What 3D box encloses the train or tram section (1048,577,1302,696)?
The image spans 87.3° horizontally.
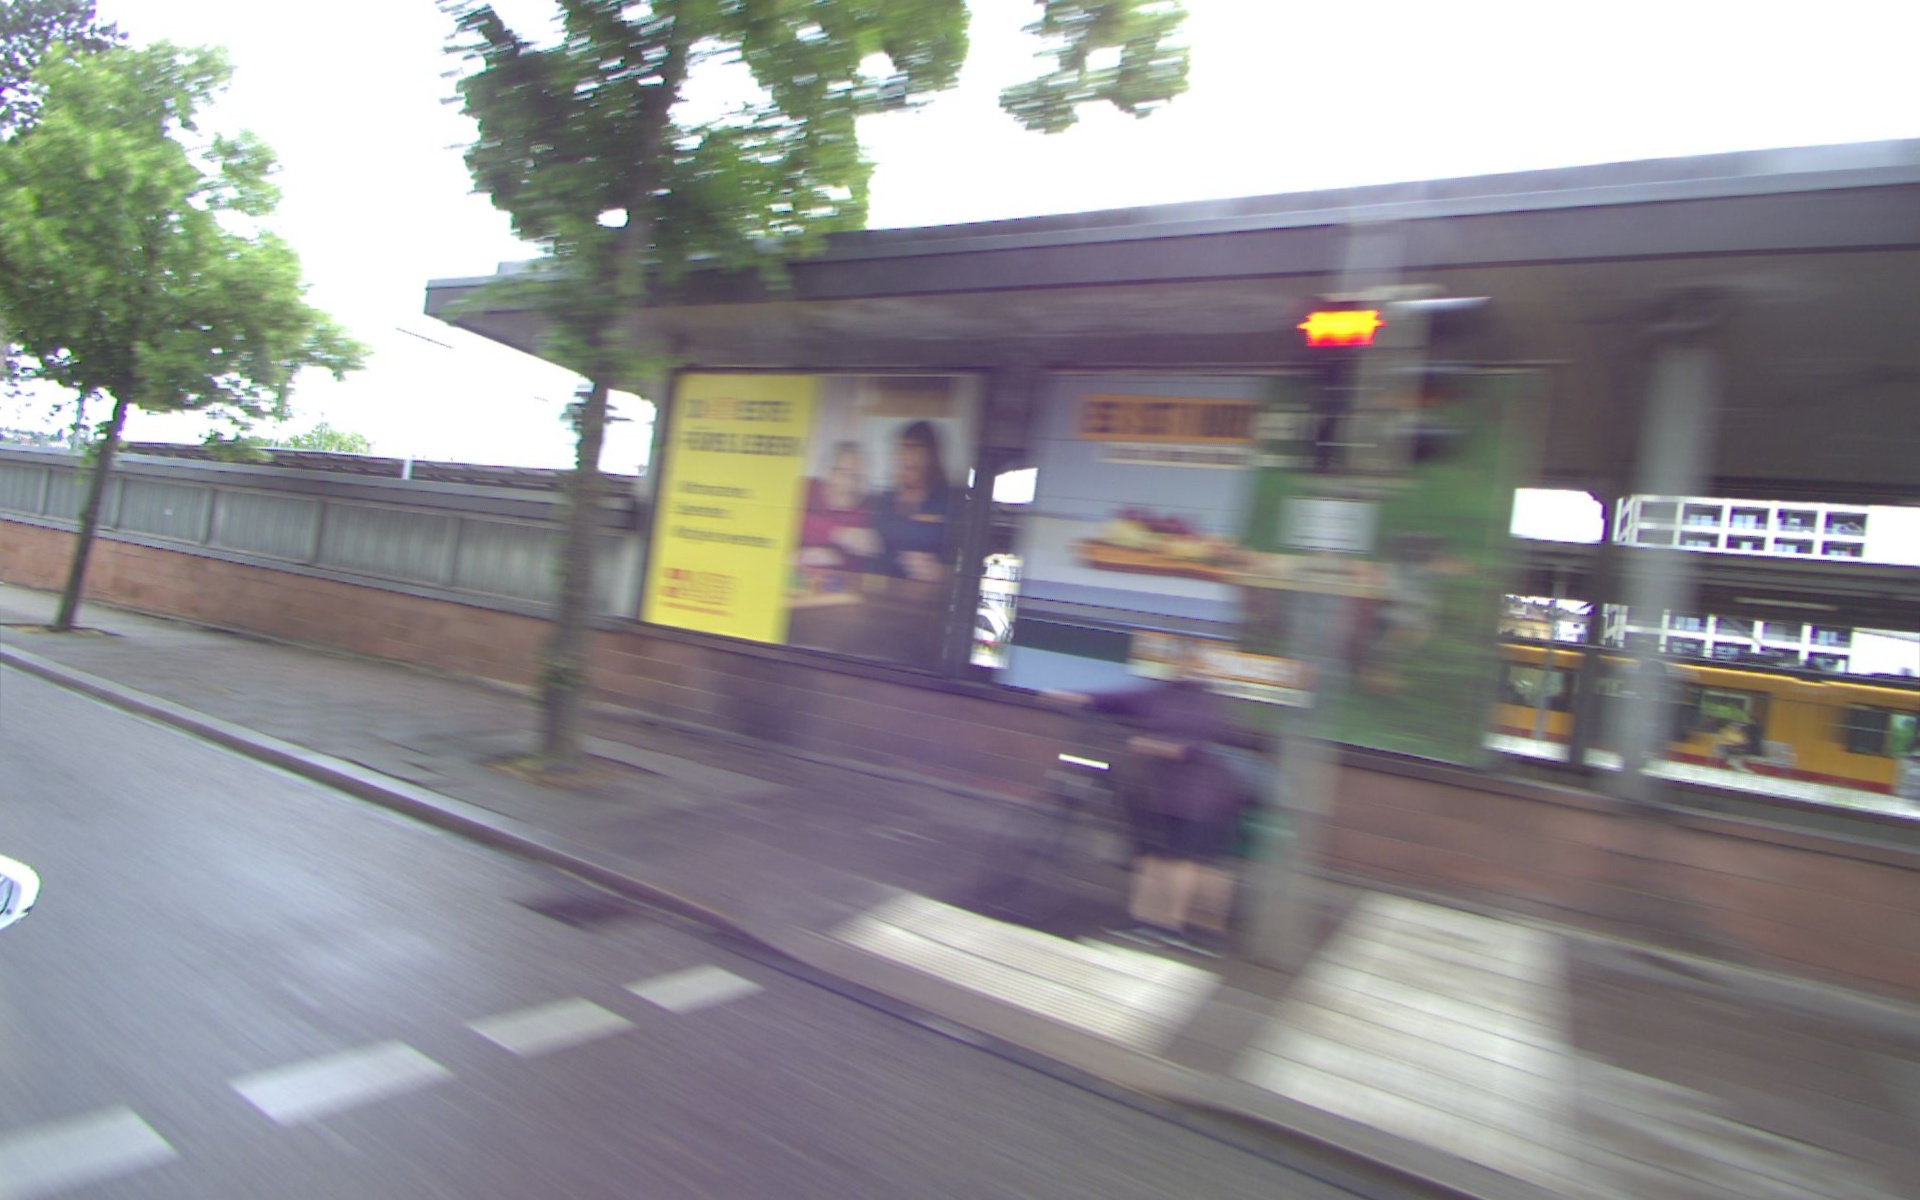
[{"bbox_3d":[7.915,1.281,37.607,8.615,3.323,2.658,7,1,30],"label":"train or tram section"}]

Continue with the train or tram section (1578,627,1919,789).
[{"bbox_3d":[23.152,3.032,28.699,8.979,3.323,2.658,7,0,30],"label":"train or tram section"}]

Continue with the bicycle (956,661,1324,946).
[{"bbox_3d":[0.920,1.050,5.218,1.697,1.265,0.485,6,1,-12],"label":"bicycle"}]

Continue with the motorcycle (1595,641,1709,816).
[{"bbox_3d":[7.467,1.366,10.951,0.682,1.628,2.346,7,-2,31],"label":"motorcycle"}]

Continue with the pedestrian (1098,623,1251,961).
[{"bbox_3d":[1.061,0.937,5.028,0.450,1.588,0.392,6,1,-13],"label":"pedestrian"}]

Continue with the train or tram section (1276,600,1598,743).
[{"bbox_3d":[15.455,2.196,33.145,8.979,3.323,2.658,7,1,30],"label":"train or tram section"}]

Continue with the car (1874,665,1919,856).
[{"bbox_3d":[11.583,1.815,9.010,4.520,1.893,1.998,7,-1,30],"label":"car"}]
